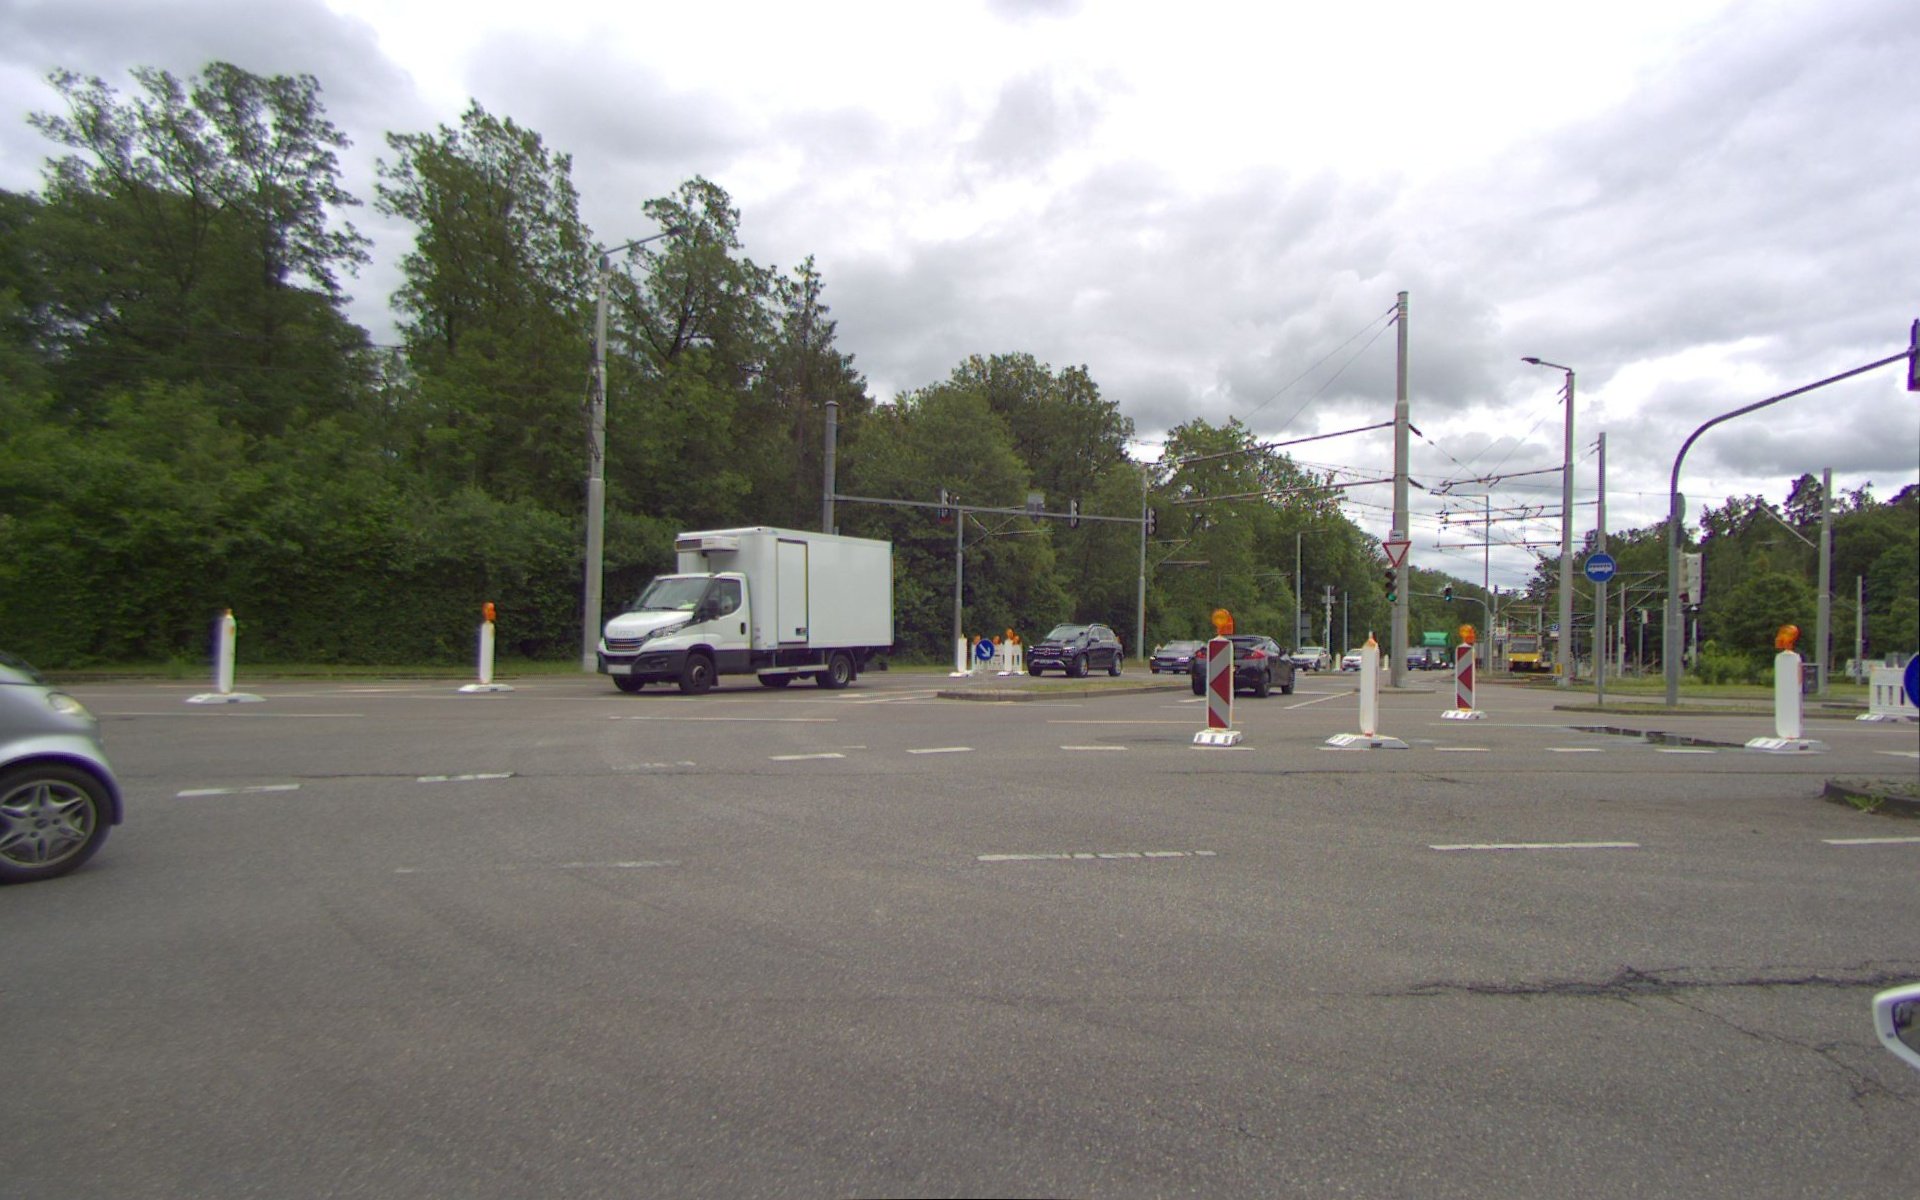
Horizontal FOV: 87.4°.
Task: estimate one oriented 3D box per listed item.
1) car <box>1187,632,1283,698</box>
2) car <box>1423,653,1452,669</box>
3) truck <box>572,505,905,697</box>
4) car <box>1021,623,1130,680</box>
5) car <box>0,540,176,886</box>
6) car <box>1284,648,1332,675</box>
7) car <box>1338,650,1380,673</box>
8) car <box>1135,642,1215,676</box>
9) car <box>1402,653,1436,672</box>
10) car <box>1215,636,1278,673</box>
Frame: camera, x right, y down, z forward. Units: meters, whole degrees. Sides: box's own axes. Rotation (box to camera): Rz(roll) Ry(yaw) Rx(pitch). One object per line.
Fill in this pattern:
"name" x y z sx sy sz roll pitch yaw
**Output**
"car" 6.431 1.478 23.226 1.745 1.379 3.476 0 -3 22
"car" 44.215 5.627 93.001 1.935 1.379 4.300 0 -3 33
"truck" -4.156 0.214 20.721 2.413 3.266 7.142 -1 -3 31
"car" 4.030 1.740 34.225 1.933 1.773 4.838 0 -3 30
"car" -5.457 0.502 4.504 1.438 1.607 2.720 -1 -3 35
"car" 22.140 3.897 63.864 1.935 1.628 4.300 0 -3 33
"car" 28.090 4.312 70.686 1.935 1.561 4.385 0 -3 33
"car" 9.549 2.589 44.297 1.935 1.379 4.678 0 -3 33
"car" 38.351 5.202 83.871 1.935 1.560 4.300 0 -3 33
"car" 15.337 2.888 53.581 1.935 1.869 4.678 0 -3 33
